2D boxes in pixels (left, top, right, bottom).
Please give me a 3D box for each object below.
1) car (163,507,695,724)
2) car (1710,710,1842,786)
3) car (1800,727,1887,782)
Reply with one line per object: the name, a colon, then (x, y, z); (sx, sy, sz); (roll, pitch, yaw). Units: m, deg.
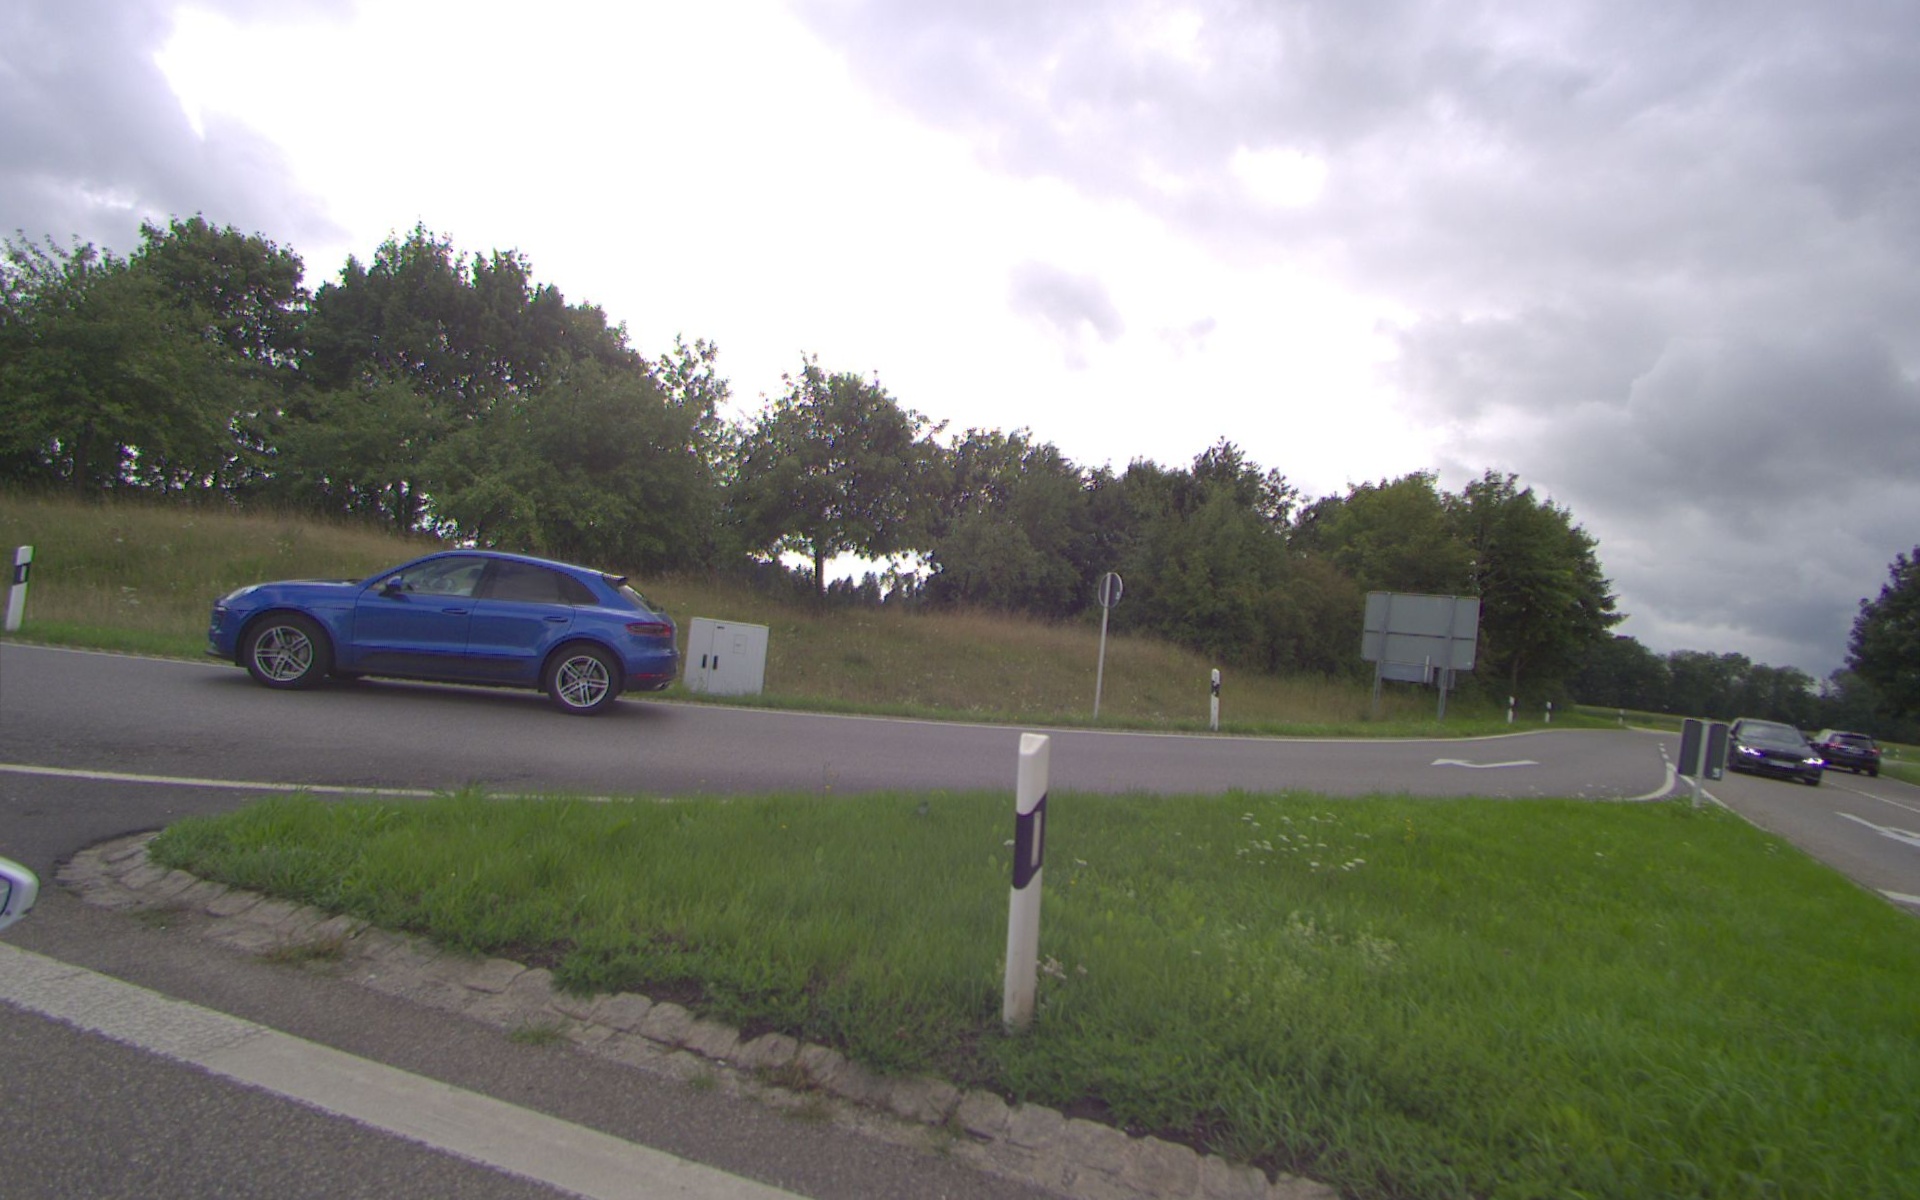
car: (-5.418, 0.209, 11.051); (4.682, 1.589, 1.995); (8, -1, -15)
car: (21.702, 3.873, 26.950); (1.967, 1.521, 4.659); (7, -1, 31)
car: (33.328, 5.787, 38.065); (1.784, 1.469, 4.259); (7, 1, 34)
